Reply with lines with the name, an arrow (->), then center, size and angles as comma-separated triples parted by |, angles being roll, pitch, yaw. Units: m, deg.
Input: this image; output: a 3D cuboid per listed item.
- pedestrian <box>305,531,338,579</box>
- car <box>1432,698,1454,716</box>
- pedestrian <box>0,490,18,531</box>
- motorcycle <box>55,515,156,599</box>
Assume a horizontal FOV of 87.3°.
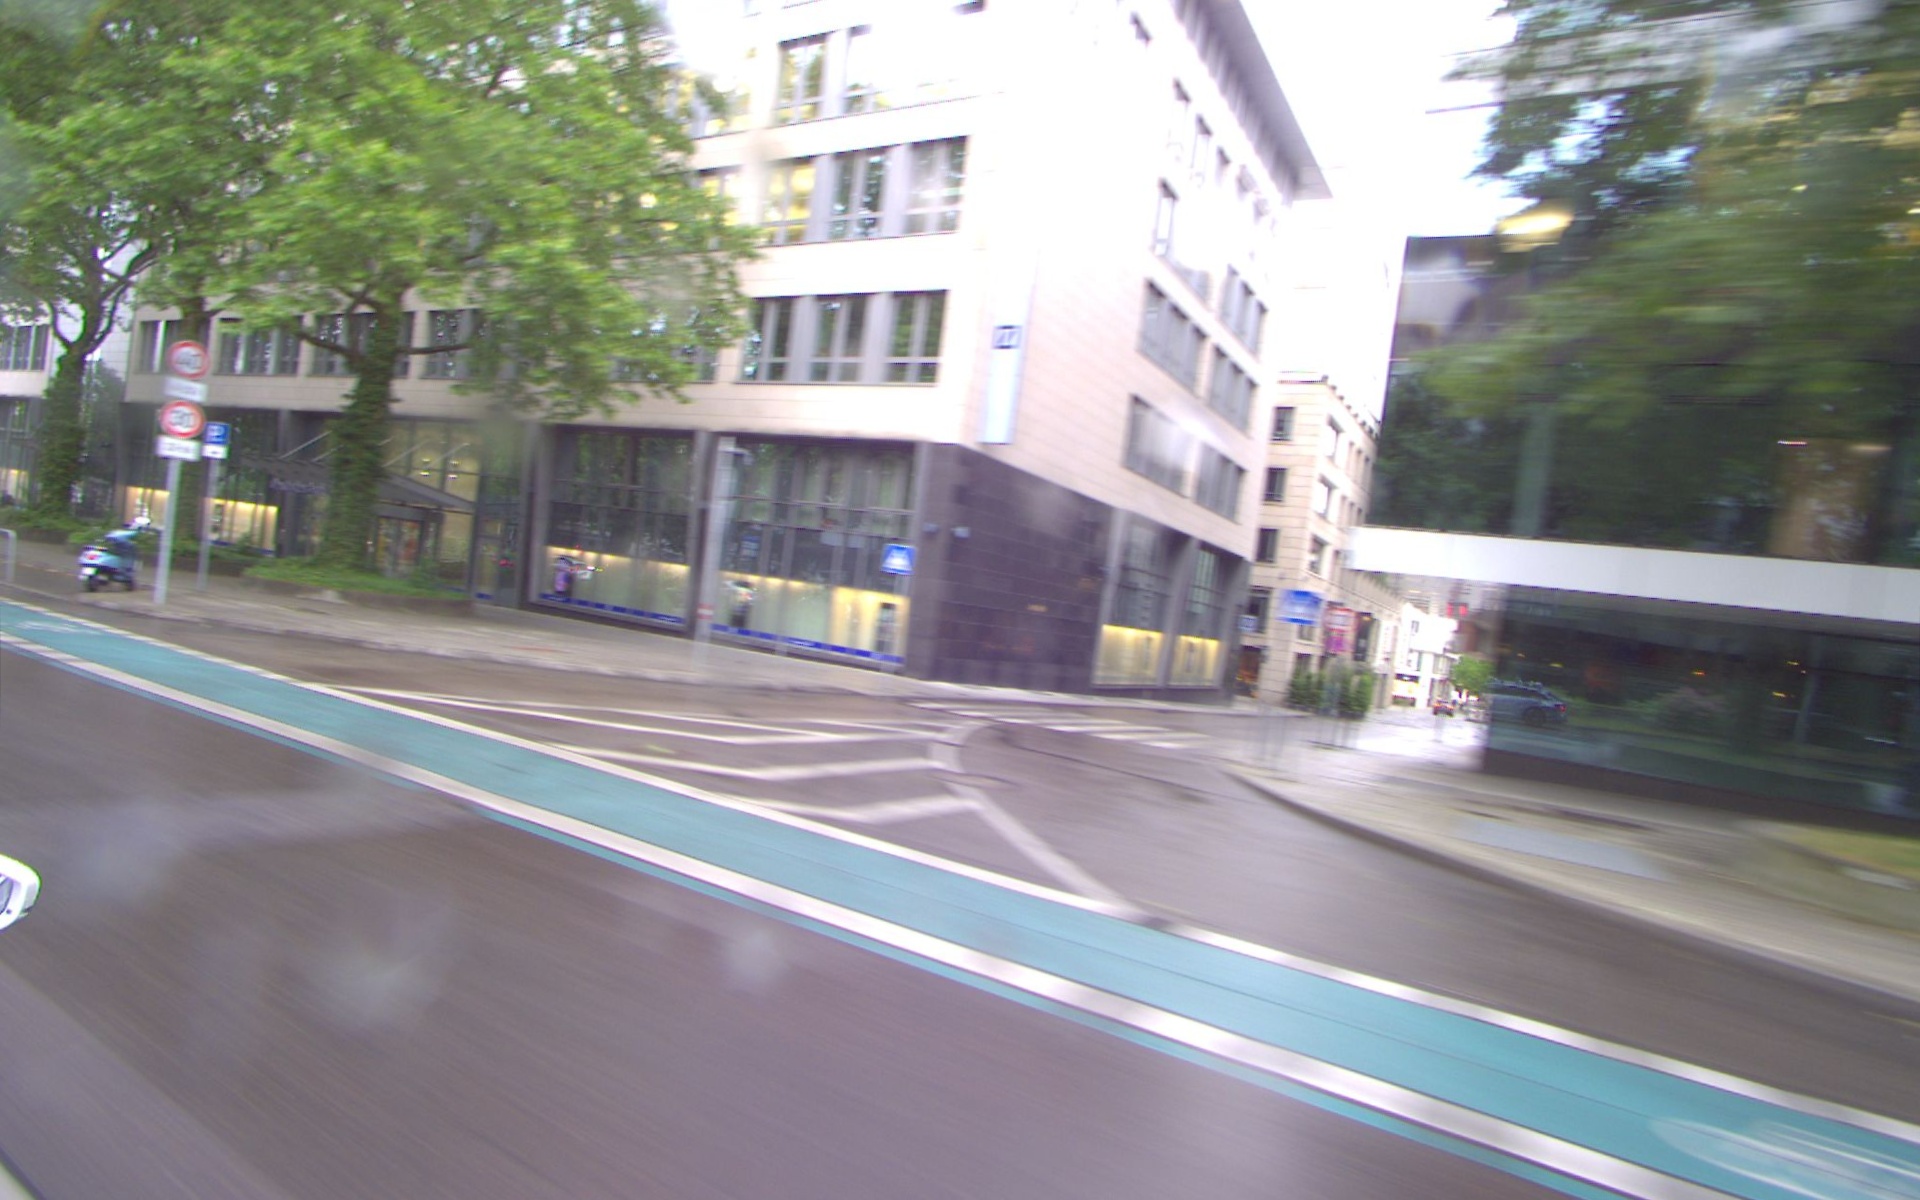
pedestrian -> -24.607, -1.724, 38.757 | 0.718, 1.714, 0.825 | 7, 1, -17
car -> 49.456, 10.938, 102.998 | 1.732, 1.547, 3.849 | 7, -2, 28
pedestrian -> -46.148, -4.345, 48.267 | 1.256, 1.871, 0.918 | 6, -1, 32
motorcycle -> -15.492, -0.781, 18.306 | 0.674, 1.385, 1.937 | 4, 2, -18
